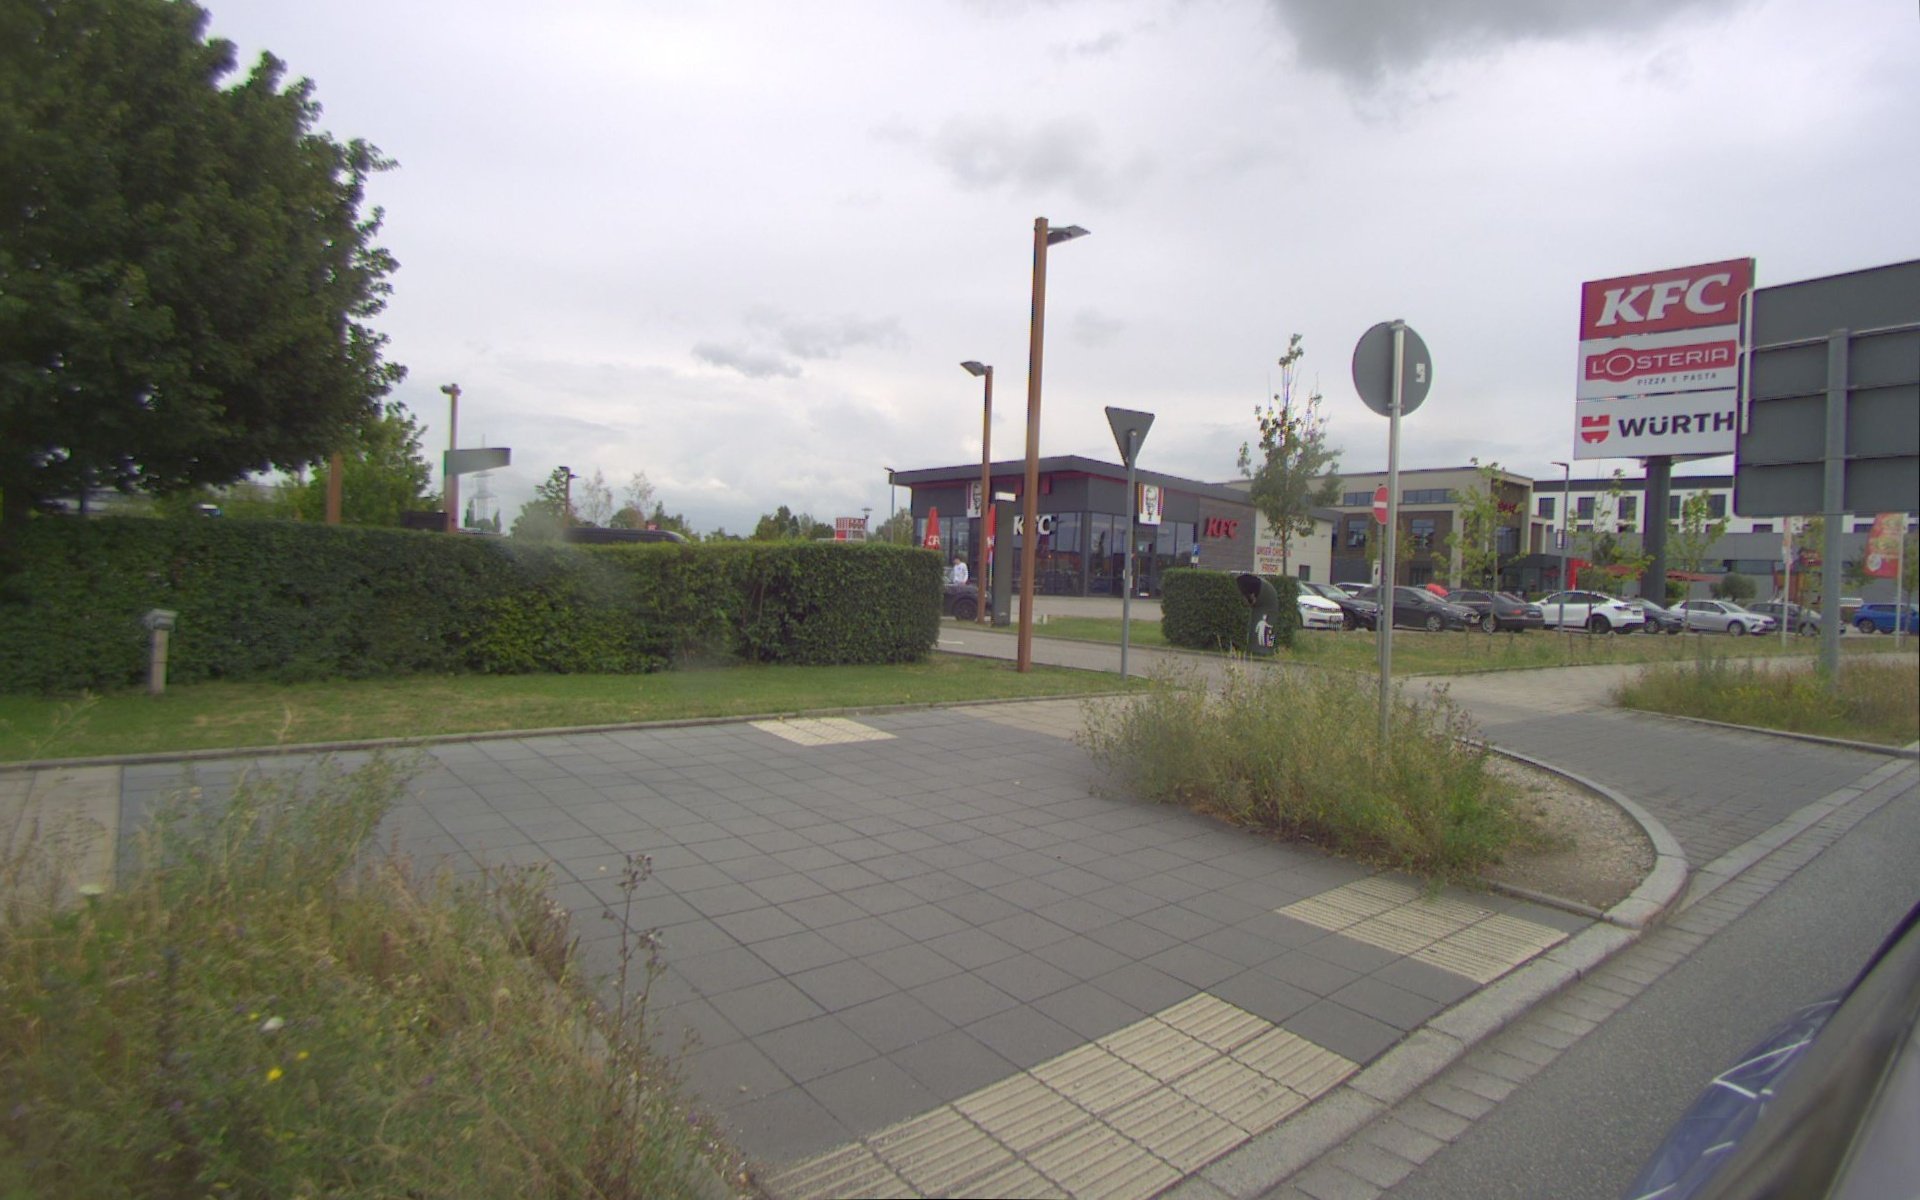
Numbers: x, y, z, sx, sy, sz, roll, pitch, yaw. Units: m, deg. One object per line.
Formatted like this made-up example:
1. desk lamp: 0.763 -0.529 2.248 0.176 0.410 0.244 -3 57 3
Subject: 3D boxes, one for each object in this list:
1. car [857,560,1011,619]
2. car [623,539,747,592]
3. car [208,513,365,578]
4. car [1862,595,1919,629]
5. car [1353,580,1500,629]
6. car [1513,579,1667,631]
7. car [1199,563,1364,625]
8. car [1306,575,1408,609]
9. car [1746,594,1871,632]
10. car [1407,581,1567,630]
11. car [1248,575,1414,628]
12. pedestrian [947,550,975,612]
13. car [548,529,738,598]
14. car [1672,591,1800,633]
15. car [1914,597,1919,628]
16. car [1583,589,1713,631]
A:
1. car: -0.668 -0.275 26.091 3.776 1.329 1.818 2 1 -1
2. car: -13.704 -1.715 50.452 5.574 2.380 2.540 1 1 -26
3. car: -29.523 -2.311 44.706 2.244 2.560 6.032 2 1 9
4. car: 46.333 0.598 48.460 1.924 1.539 4.286 1 1 -19
5. car: 15.710 0.123 34.244 1.905 1.456 4.099 1 2 -34
6. car: 24.232 0.159 39.120 2.046 1.665 4.585 1 3 -28
7. car: 9.535 -0.211 30.309 1.902 1.660 4.359 1 2 -38
8. car: 20.916 -0.430 53.503 2.042 1.537 4.576 1 3 -37
9. car: 37.470 0.539 44.798 1.850 1.512 3.779 1 1 -21
10. car: 18.359 0.160 35.466 1.992 1.487 4.536 1 1 -33
11. car: 11.543 0.005 31.751 2.035 1.454 4.482 1 2 -36
12. pedestrian: 0.033 -0.573 30.347 0.467 1.828 0.792 2 1 30
13. car: -13.211 -1.524 42.462 7.193 2.533 2.281 2 1 2
14. car: 33.034 0.494 43.204 1.862 1.499 3.884 1 3 -23
15. car: 48.932 0.680 48.661 1.940 1.512 4.009 1 1 -16
16. car: 28.389 0.370 41.870 1.900 1.503 4.009 1 2 -24
